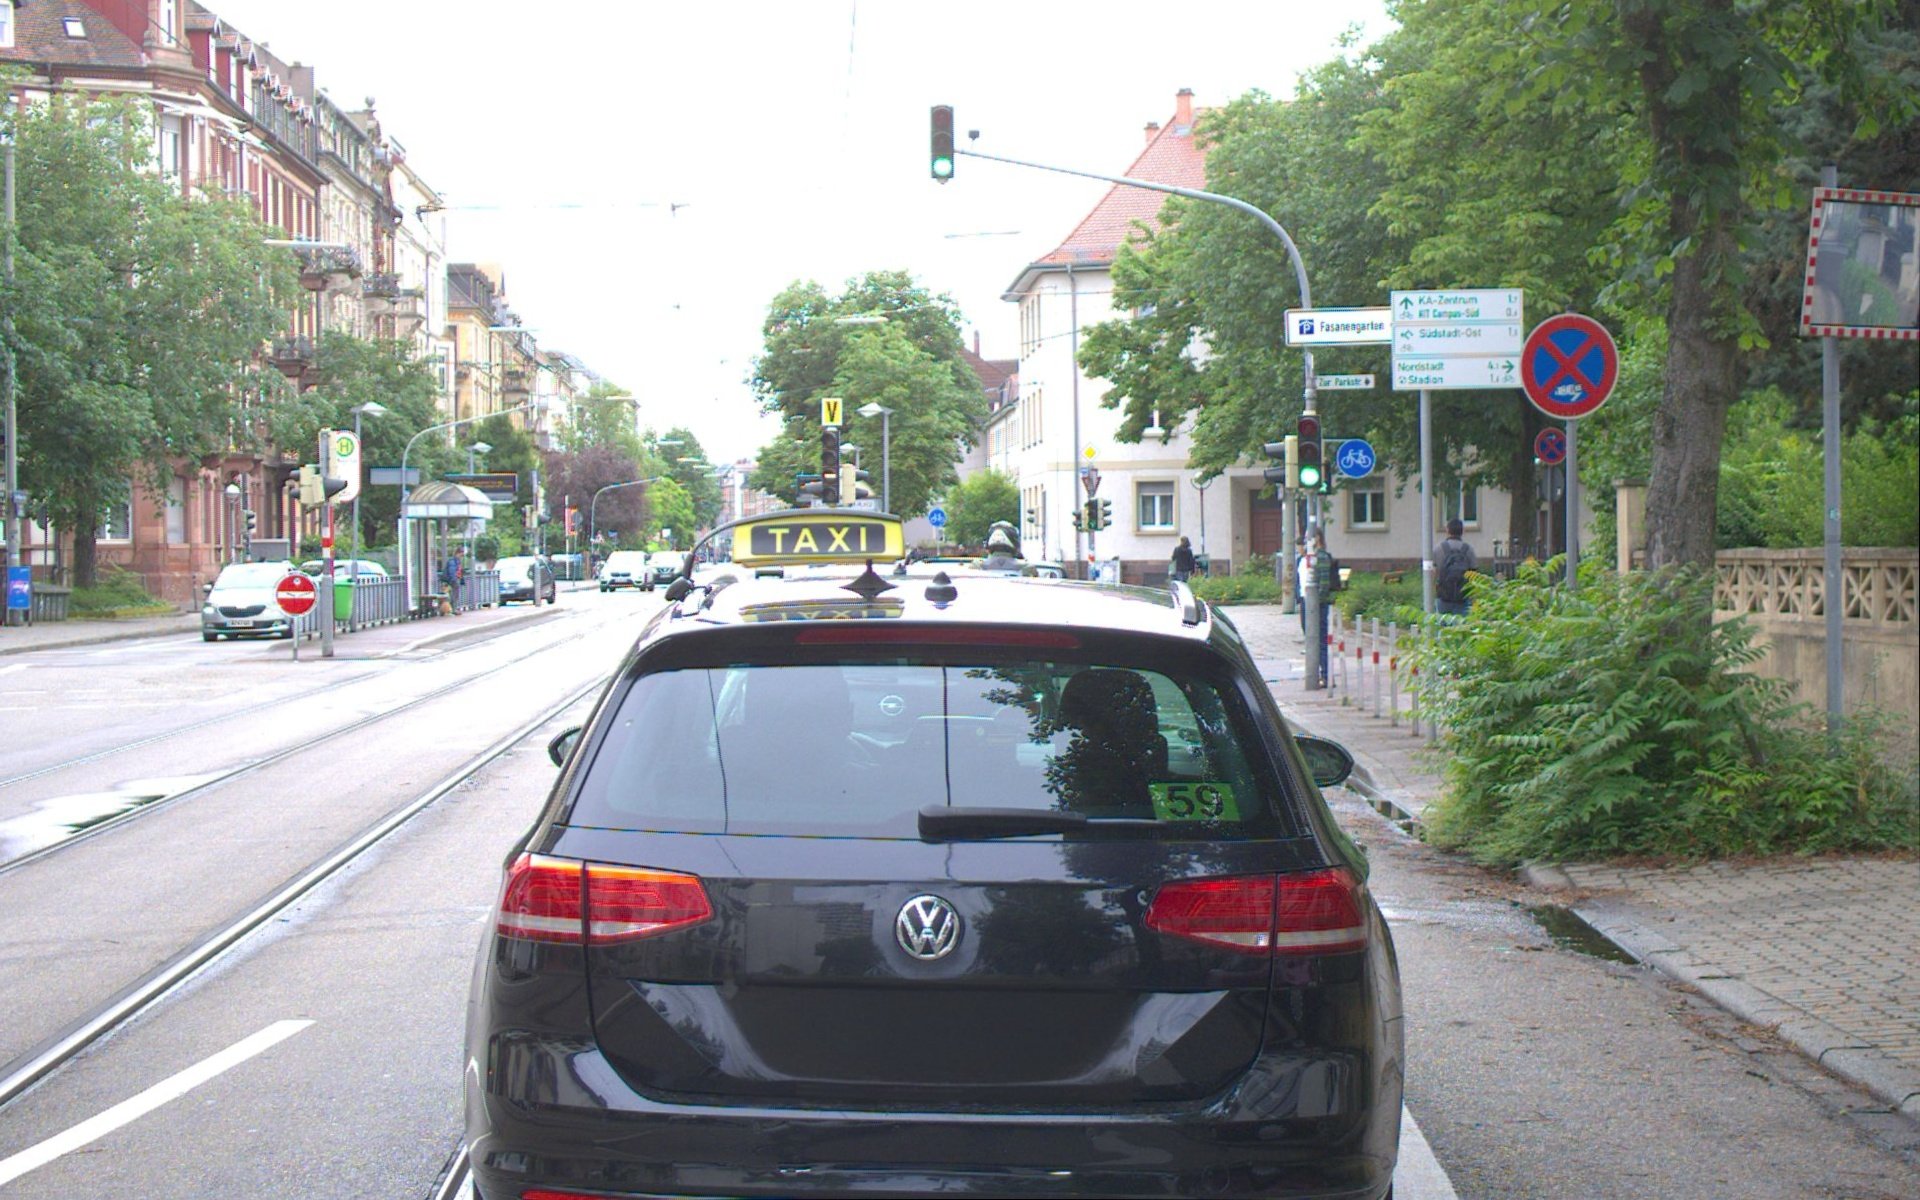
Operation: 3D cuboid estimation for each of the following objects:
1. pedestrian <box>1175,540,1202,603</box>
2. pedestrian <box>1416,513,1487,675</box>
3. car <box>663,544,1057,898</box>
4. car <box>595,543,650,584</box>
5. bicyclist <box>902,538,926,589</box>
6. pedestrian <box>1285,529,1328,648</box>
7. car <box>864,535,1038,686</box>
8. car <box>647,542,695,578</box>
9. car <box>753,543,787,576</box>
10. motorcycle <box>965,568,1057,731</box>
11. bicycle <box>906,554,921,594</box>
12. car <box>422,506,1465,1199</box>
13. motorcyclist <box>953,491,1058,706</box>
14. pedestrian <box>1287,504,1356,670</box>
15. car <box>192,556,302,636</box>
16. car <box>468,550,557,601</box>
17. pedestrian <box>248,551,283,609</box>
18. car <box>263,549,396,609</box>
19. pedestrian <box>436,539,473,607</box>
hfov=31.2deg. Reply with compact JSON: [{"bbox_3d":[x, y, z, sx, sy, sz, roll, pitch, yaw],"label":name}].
[{"bbox_3d":[5.561,-0.695,83.725,0.582,1.548,0.609,0,1,11],"label":"pedestrian"},{"bbox_3d":[5.578,-0.074,39.026,0.632,1.808,0.726,-1,1,-5],"label":"pedestrian"},{"bbox_3d":[-0.523,0.497,17.075,1.723,1.541,4.001,0,1,-2],"label":"car"},{"bbox_3d":[-13.548,-1.493,138.145,1.795,1.590,4.000,-1,1,0],"label":"car"},{"bbox_3d":[-1.438,-1.132,106.728,0.651,1.563,0.695,-1,1,5],"label":"bicyclist"},{"bbox_3d":[5.444,-0.181,54.016,0.514,1.824,0.418,-4,1,-1],"label":"pedestrian"},{"bbox_3d":[-0.147,0.074,37.307,1.723,1.541,4.001,0,1,-2],"label":"car"},{"bbox_3d":[-13.002,-1.817,154.693,1.795,1.590,4.000,-1,1,0],"label":"car"},{"bbox_3d":[-11.877,-2.506,215.173,2.032,2.007,4.000,0,0,-2],"label":"car"},{"bbox_3d":[0.419,0.375,27.432,0.446,1.231,1.906,-1,1,9],"label":"motorcycle"},{"bbox_3d":[-1.451,-0.818,106.702,0.297,1.219,1.430,-1,1,5],"label":"bicycle"},{"bbox_3d":[-0.106,0.582,7.685,1.723,1.541,4.001,0,1,-2],"label":"car"},{"bbox_3d":[0.368,-0.017,27.510,0.703,1.686,0.804,-1,1,9],"label":"motorcyclist"},{"bbox_3d":[4.068,-0.150,38.717,0.585,1.824,0.604,-4,1,-1],"label":"pedestrian"},{"bbox_3d":[-13.461,-0.100,65.101,1.688,1.406,4.001,-2,1,-7],"label":"car"},{"bbox_3d":[-13.581,-0.761,104.490,1.721,1.460,3.862,-1,1,8],"label":"car"},{"bbox_3d":[-18.358,-0.525,90.873,0.589,1.515,0.648,0,1,33],"label":"pedestrian"},{"bbox_3d":[-17.869,-0.609,97.601,1.723,1.617,3.858,0,1,26],"label":"car"},{"bbox_3d":[-11.329,-0.607,77.045,0.714,1.515,0.590,-1,1,-1],"label":"pedestrian"}]
